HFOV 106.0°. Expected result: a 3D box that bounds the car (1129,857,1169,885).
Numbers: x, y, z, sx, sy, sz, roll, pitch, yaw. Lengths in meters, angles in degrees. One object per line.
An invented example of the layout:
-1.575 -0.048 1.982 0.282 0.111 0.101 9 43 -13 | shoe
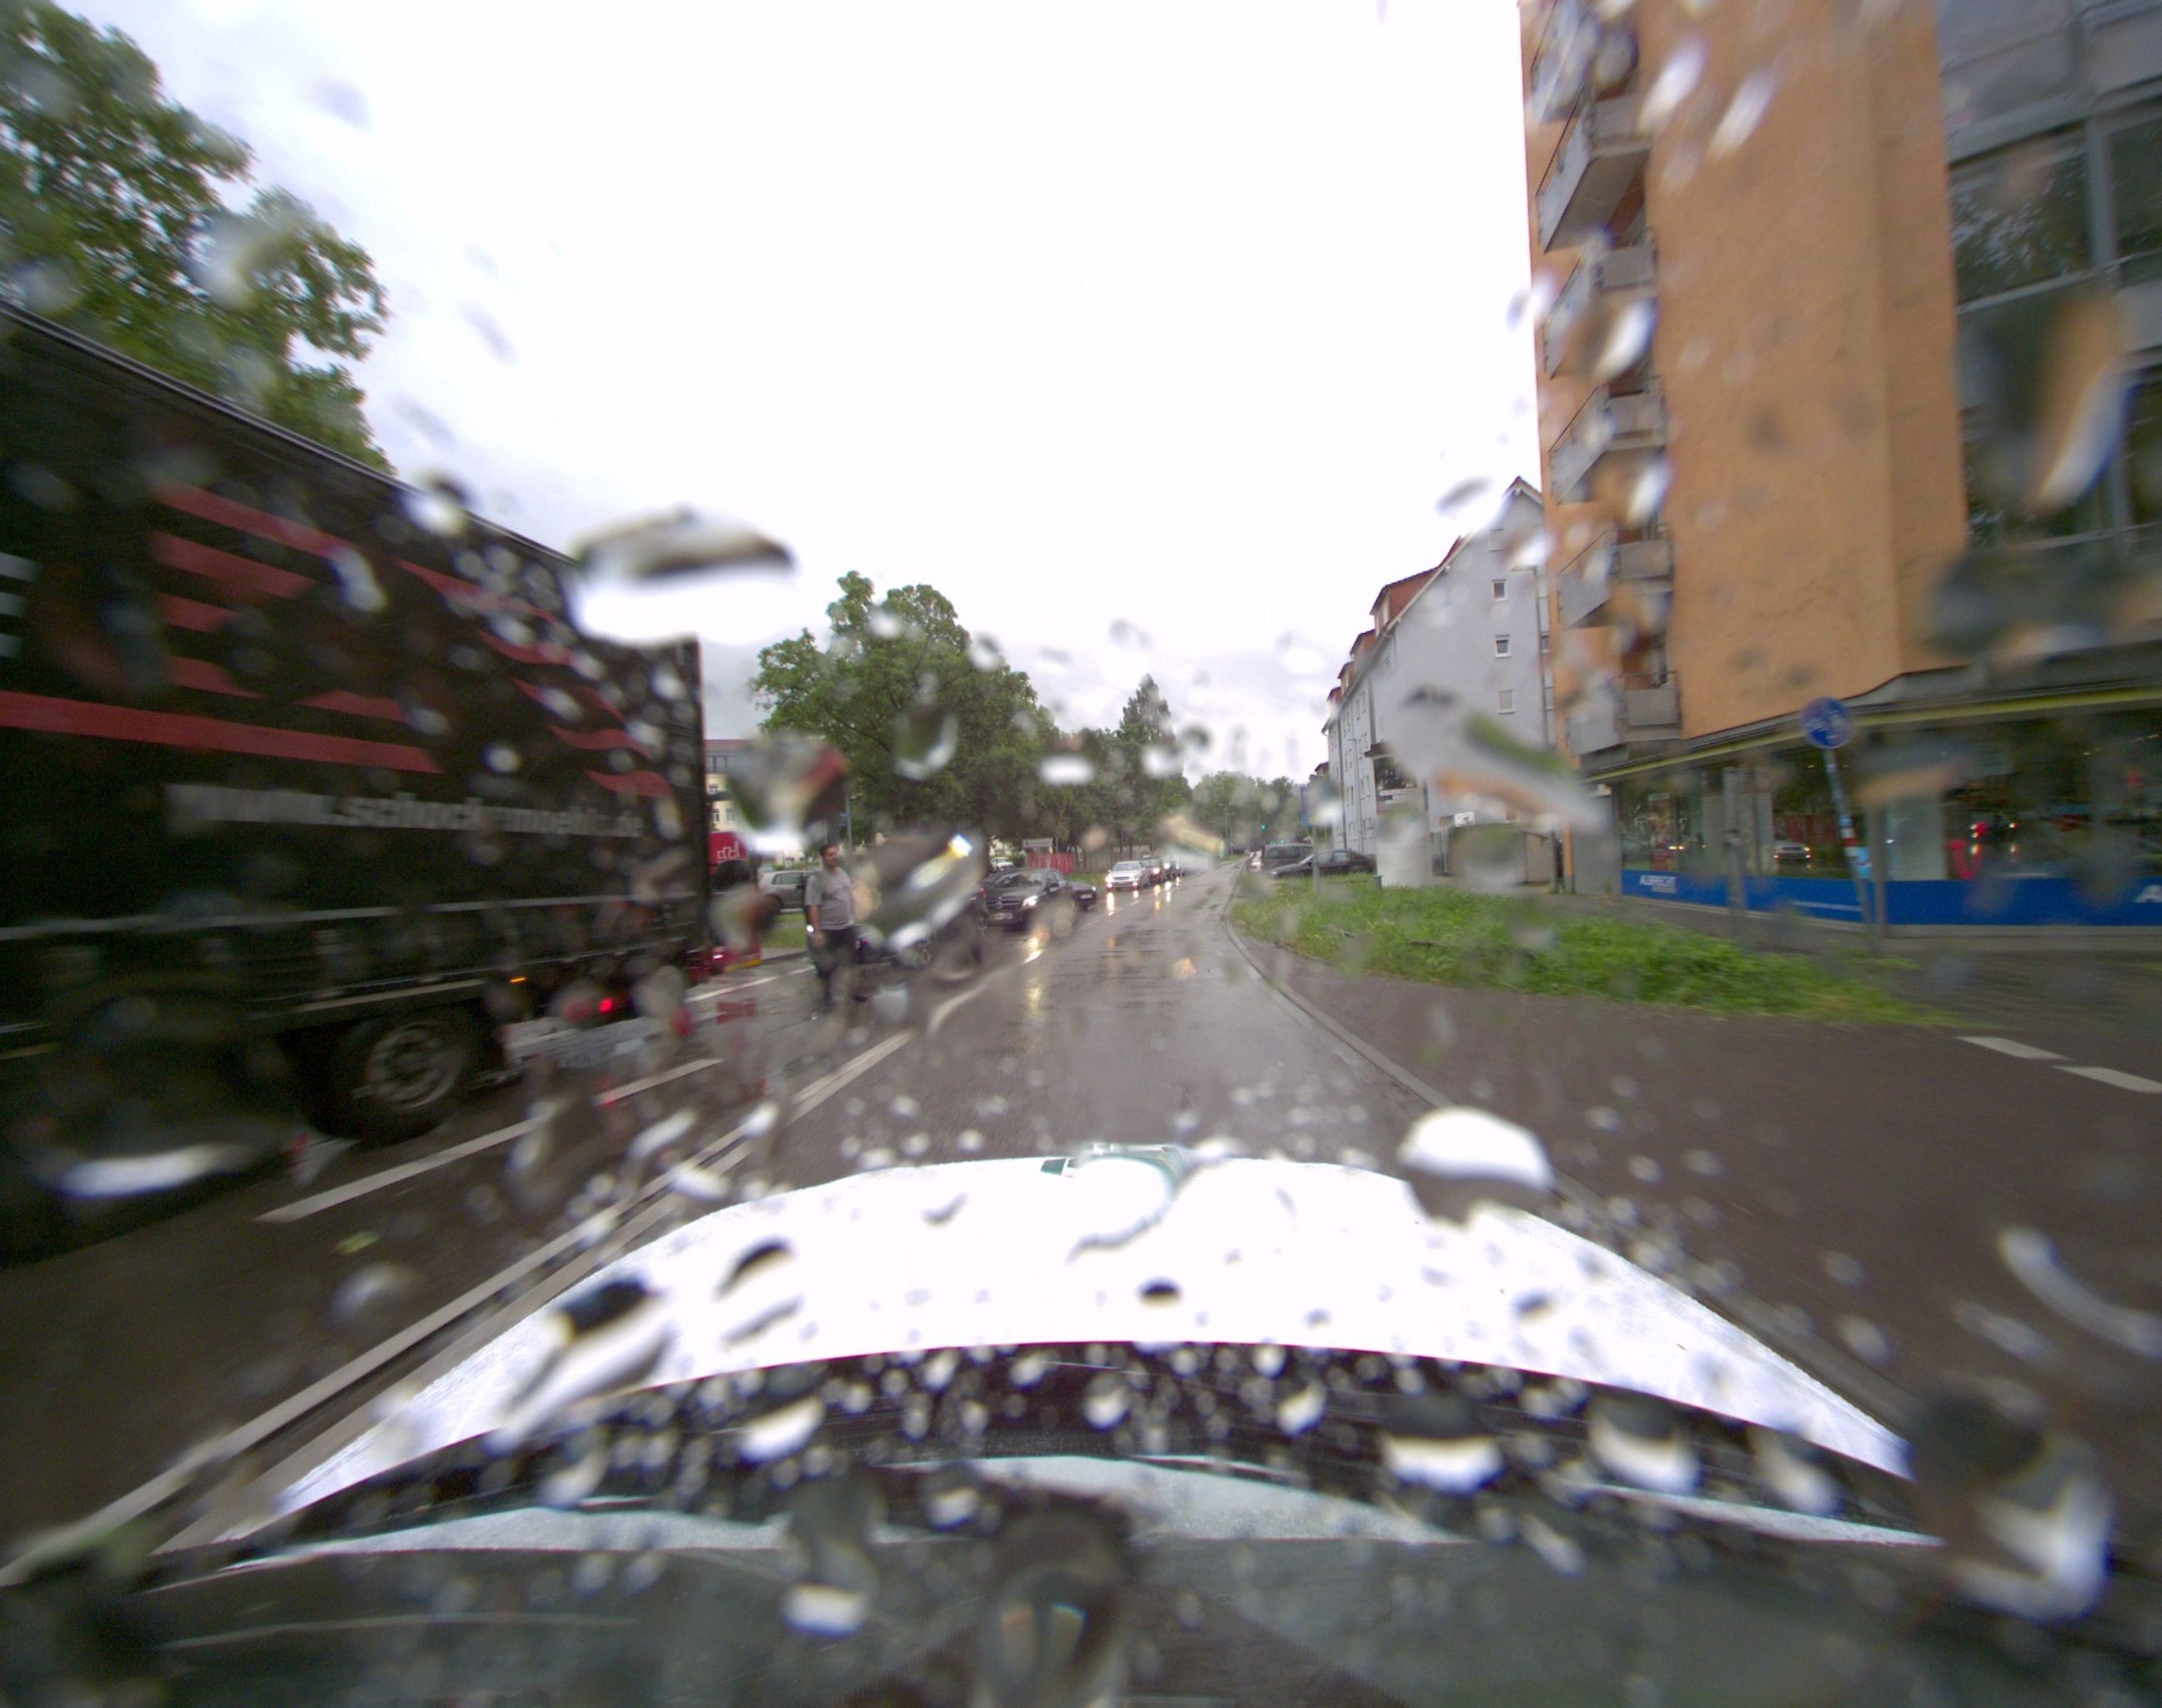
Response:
4.031 0.968 47.575 1.767 1.420 4.279 -3 0 12 | car

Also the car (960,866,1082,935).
-1.363 1.074 20.339 1.714 1.361 4.353 -4 0 13 | car

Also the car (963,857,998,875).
-9.667 1.168 78.080 2.005 1.557 3.964 -2 -1 -27 | car

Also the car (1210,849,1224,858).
31.967 -0.114 191.720 1.992 2.013 3.989 -3 0 -8 | car

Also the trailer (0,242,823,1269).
-6.220 -0.329 2.069 3.419 4.049 15.100 -3 0 12 | trailer

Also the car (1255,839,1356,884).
10.331 0.351 37.700 4.208 1.805 1.949 -4 -1 8 | car

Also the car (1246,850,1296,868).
17.193 0.478 73.741 4.236 1.454 1.993 -2 0 17 | car

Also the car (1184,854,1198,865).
17.034 0.837 125.901 1.918 1.484 4.010 -3 0 8 | car

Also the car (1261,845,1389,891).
9.274 0.544 31.316 4.503 1.470 1.989 -3 -1 11 | car

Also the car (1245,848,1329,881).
10.790 0.537 42.889 4.155 1.572 1.896 -2 -1 10 | car

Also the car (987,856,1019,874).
-7.612 1.094 79.117 1.853 1.573 3.968 -2 -2 -24 | car

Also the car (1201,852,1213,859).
29.548 0.397 190.991 1.740 1.689 3.987 -2 -1 -9 | car

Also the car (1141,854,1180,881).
5.367 0.869 54.310 1.901 1.639 4.839 -2 -1 13 | car

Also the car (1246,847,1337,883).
10.336 0.546 40.306 4.164 1.568 1.894 -3 -1 9 | car

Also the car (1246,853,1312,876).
12.260 0.635 50.429 3.827 1.207 1.963 -3 0 13 | car

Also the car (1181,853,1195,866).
14.600 0.744 111.246 1.767 1.530 4.006 -2 1 5 | car

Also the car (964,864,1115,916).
-1.432 1.170 26.502 4.866 1.454 2.099 -3 0 44 | car

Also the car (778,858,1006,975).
-2.979 0.974 14.105 1.854 1.619 4.818 -3 -2 13 | car

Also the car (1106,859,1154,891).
2.507 1.006 40.496 1.764 1.403 4.843 -2 -1 10 | car

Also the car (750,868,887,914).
-9.008 1.241 28.115 4.339 1.395 2.000 -1 -1 -19 | car

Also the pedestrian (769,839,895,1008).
-2.895 0.774 9.504 0.979 1.843 0.877 -3 0 29 | pedestrian
